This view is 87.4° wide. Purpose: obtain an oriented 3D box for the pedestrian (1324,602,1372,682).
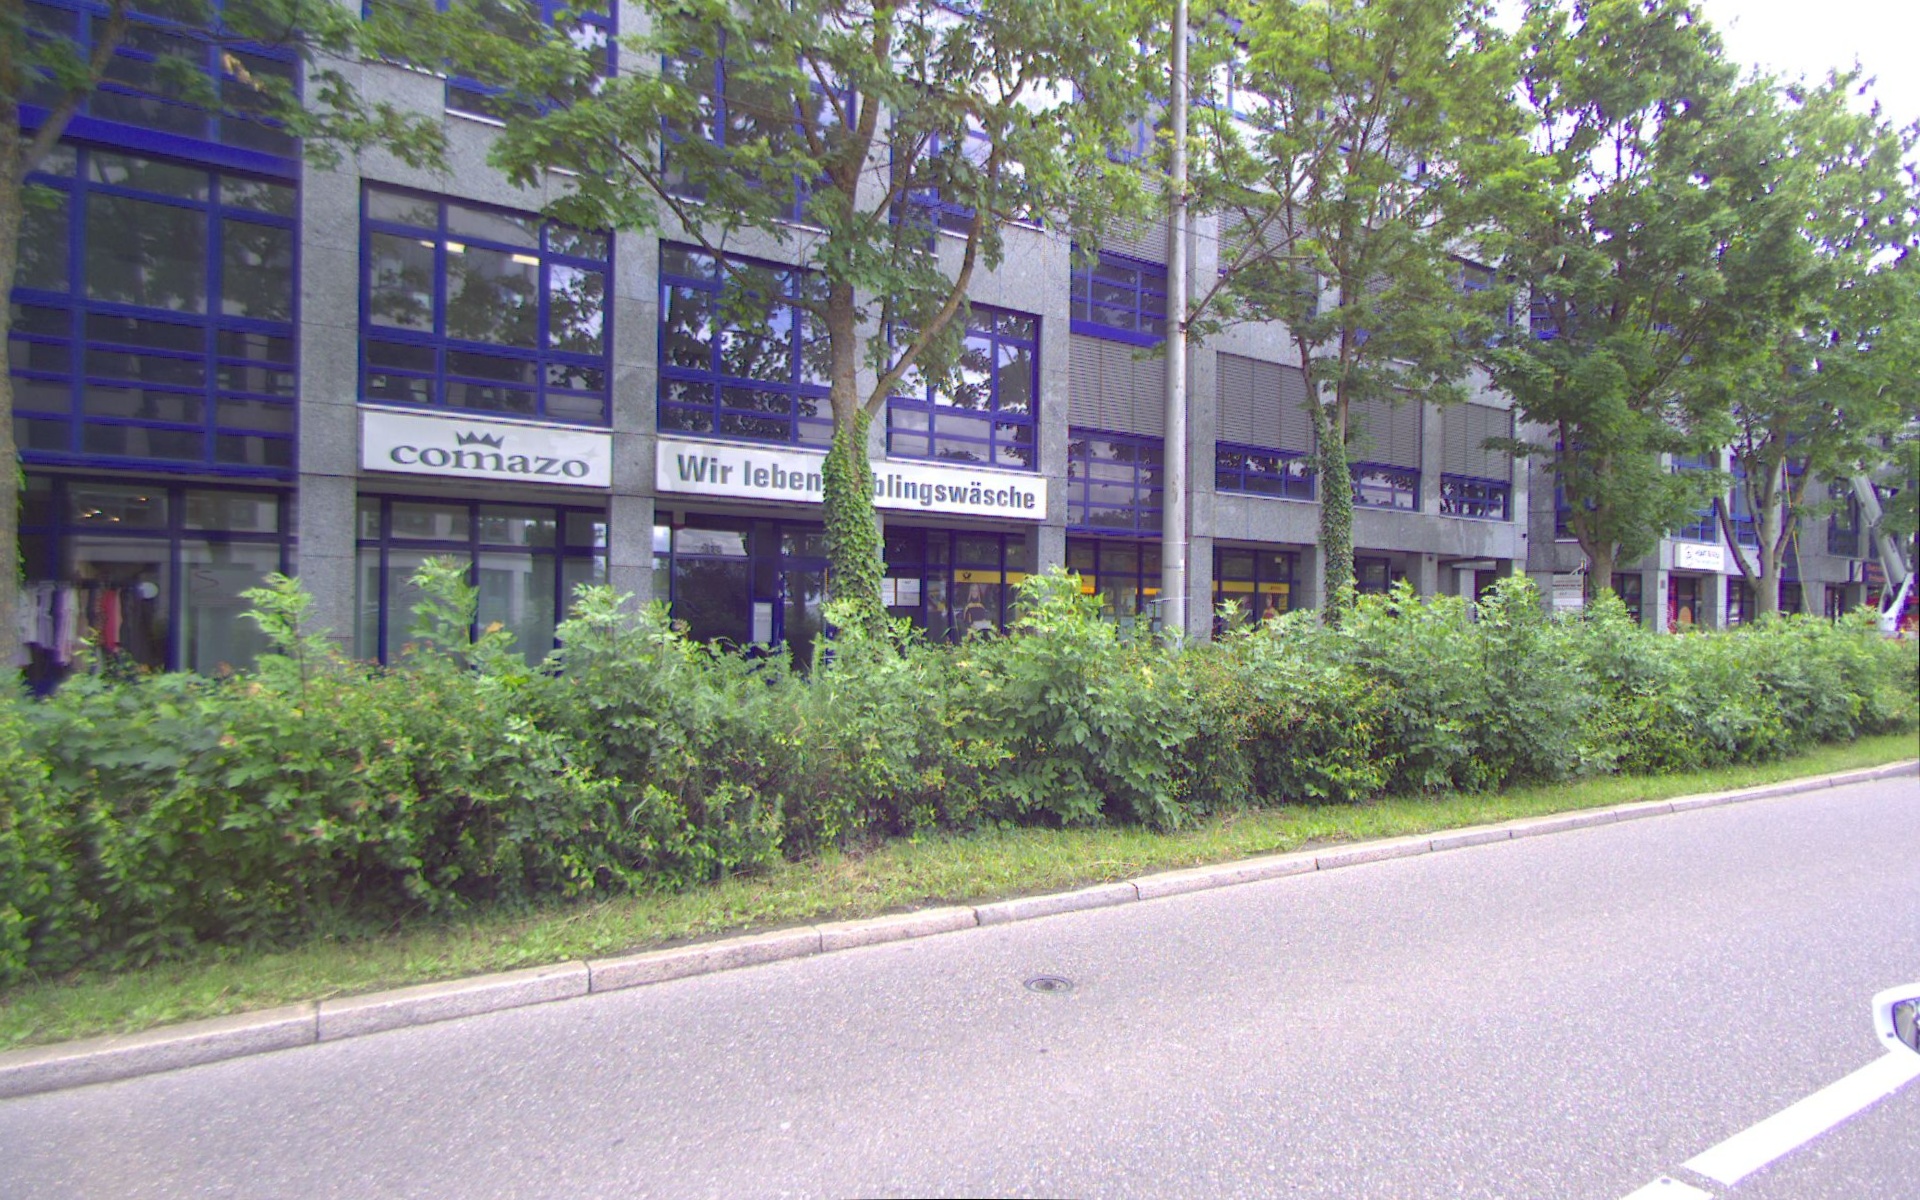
[{"bbox_3d":[9.516,1.024,24.638,0.723,1.919,0.771,2,0,-30],"label":"pedestrian"}]
